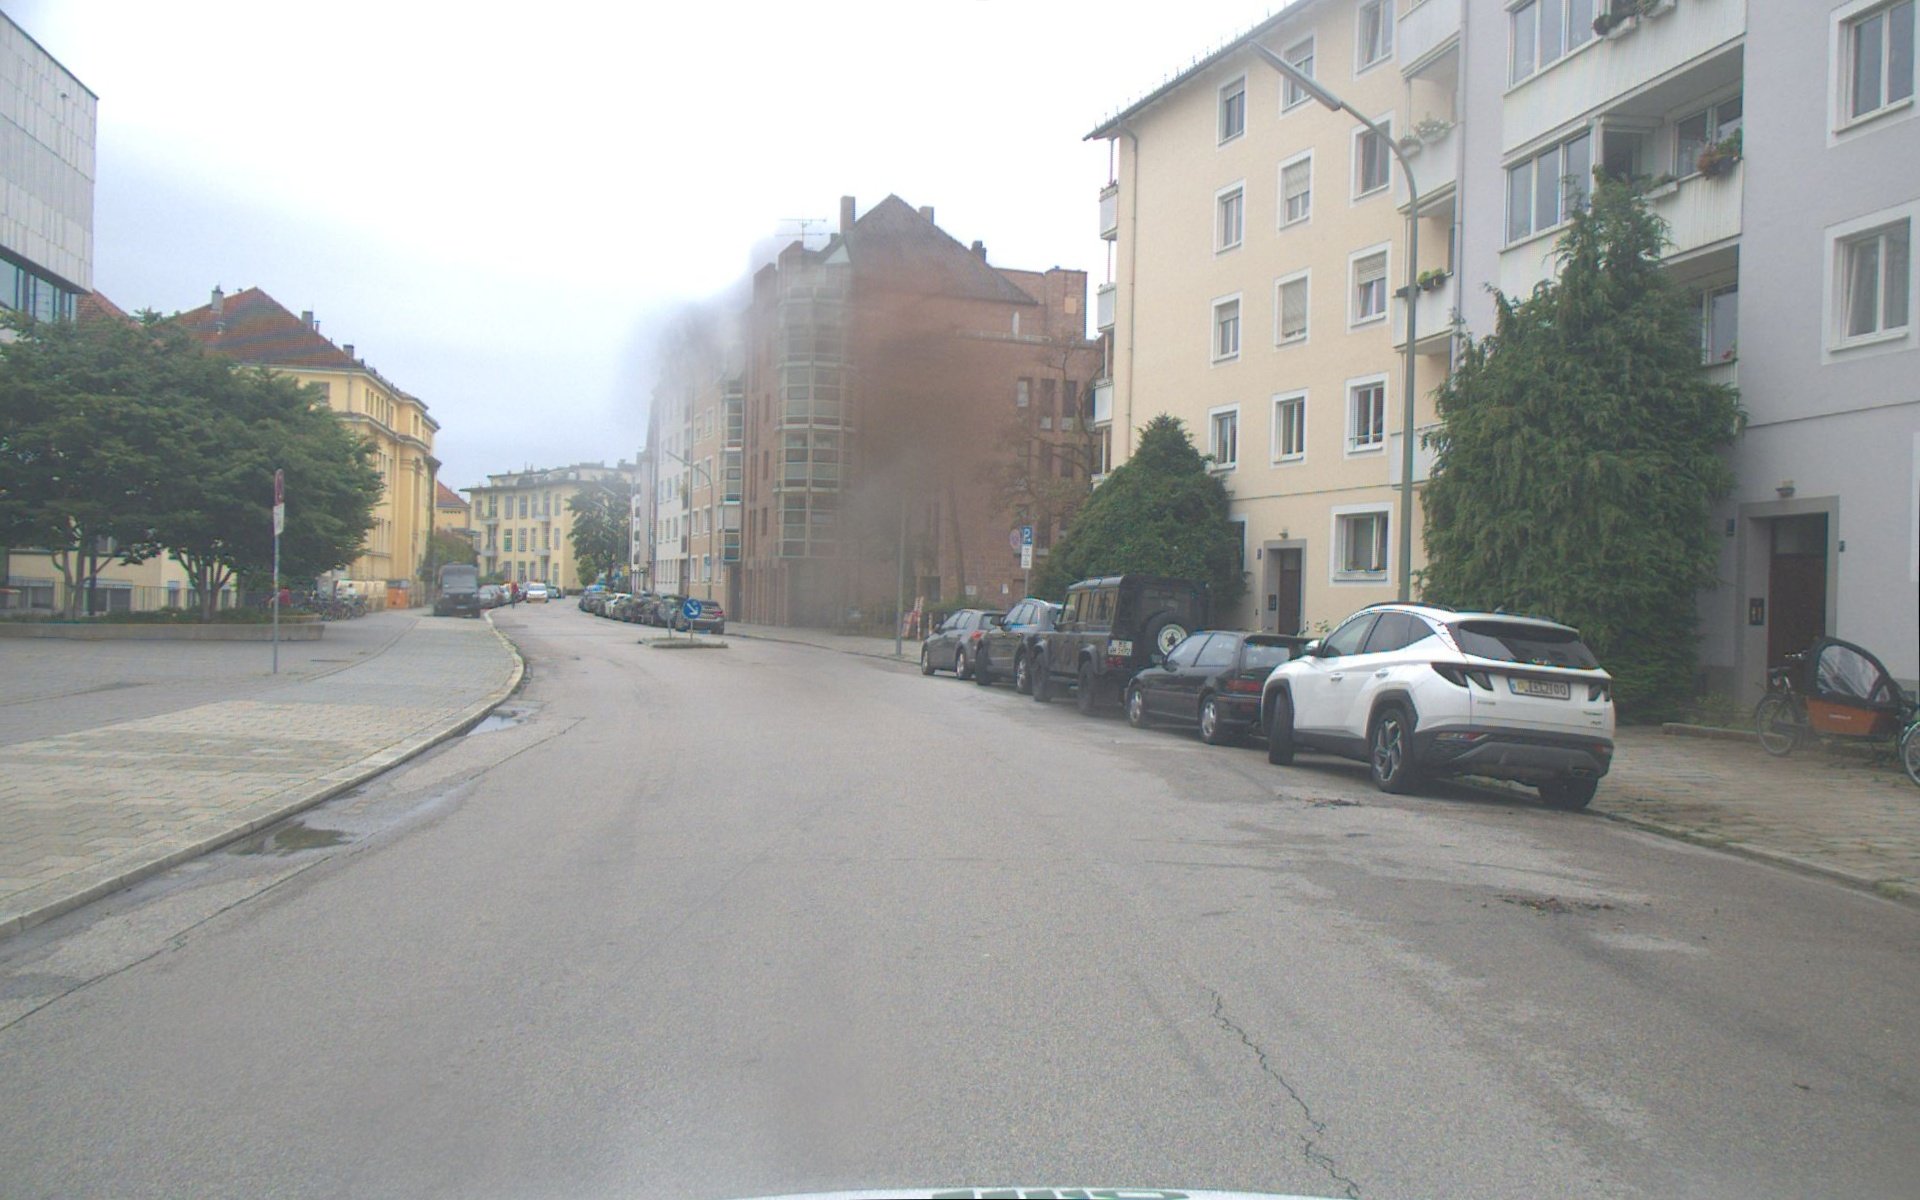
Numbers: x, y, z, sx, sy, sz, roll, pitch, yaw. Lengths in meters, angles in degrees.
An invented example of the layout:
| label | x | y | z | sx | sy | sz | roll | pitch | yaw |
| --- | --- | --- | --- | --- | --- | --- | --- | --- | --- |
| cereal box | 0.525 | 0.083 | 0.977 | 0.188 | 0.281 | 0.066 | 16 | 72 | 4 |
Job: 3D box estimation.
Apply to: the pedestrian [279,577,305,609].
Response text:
| label | x | y | z | sx | sy | sz | roll | pitch | yaw |
| --- | --- | --- | --- | --- | --- | --- | --- | --- | --- |
| pedestrian | -26.092 | -0.265 | 64.632 | 0.705 | 1.183 | 1.037 | 3 | 0 | -13 |

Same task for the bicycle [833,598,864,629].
| label | x | y | z | sx | sy | sz | roll | pitch | yaw |
| --- | --- | --- | --- | --- | --- | --- | --- | --- | --- |
| bicycle | -4.823 | 0.570 | 71.242 | 0.527 | 1.270 | 2.396 | 3 | -2 | -23 |

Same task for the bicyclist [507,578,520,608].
| label | x | y | z | sx | sy | sz | roll | pitch | yaw |
| --- | --- | --- | --- | --- | --- | --- | --- | --- | --- |
| bicyclist | -30.941 | -0.466 | 114.664 | 0.753 | 2.048 | 0.765 | -2 | 1 | -12 |

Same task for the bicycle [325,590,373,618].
| label | x | y | z | sx | sy | sz | roll | pitch | yaw |
| --- | --- | --- | --- | --- | --- | --- | --- | --- | --- |
| bicycle | -27.758 | 0.190 | 75.197 | 1.920 | 1.151 | 0.572 | 3 | 0 | -8 |

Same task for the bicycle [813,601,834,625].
| label | x | y | z | sx | sy | sz | roll | pitch | yaw |
| --- | --- | --- | --- | --- | --- | --- | --- | --- | --- |
| bicycle | -6.527 | 0.625 | 78.979 | 0.479 | 1.078 | 1.984 | 3 | 0 | -20 |

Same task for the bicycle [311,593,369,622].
| label | x | y | z | sx | sy | sz | roll | pitch | yaw |
| --- | --- | --- | --- | --- | --- | --- | --- | --- | --- |
| bicycle | -27.184 | 0.322 | 72.553 | 2.267 | 1.154 | 0.580 | 3 | 0 | -8 |

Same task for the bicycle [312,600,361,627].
| label | x | y | z | sx | sy | sz | roll | pitch | yaw |
| --- | --- | --- | --- | --- | --- | --- | --- | --- | --- |
| bicycle | -26.682 | 0.568 | 70.835 | 1.831 | 1.047 | 0.539 | 3 | 0 | -8 |

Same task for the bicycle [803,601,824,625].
| label | x | y | z | sx | sy | sz | roll | pitch | yaw |
| --- | --- | --- | --- | --- | --- | --- | --- | --- | --- |
| bicycle | -6.985 | 0.622 | 78.763 | 0.479 | 1.078 | 1.984 | 3 | -1 | -20 |

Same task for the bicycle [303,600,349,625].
| label | x | y | z | sx | sy | sz | roll | pitch | yaw |
| --- | --- | --- | --- | --- | --- | --- | --- | --- | --- |
| bicycle | -26.187 | 0.531 | 68.302 | 1.643 | 0.932 | 0.594 | 3 | 0 | -8 |

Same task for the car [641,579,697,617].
| label | x | y | z | sx | sy | sz | roll | pitch | yaw |
| --- | --- | --- | --- | --- | --- | --- | --- | --- | --- |
| car | -14.151 | -0.098 | 80.257 | 1.804 | 1.629 | 4.240 | 3 | 1 | -21 |

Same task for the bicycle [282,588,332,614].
| label | x | y | z | sx | sy | sz | roll | pitch | yaw |
| --- | --- | --- | --- | --- | --- | --- | --- | --- | --- |
| bicycle | -25.251 | 0.044 | 63.940 | 1.688 | 0.877 | 0.438 | 3 | 0 | -12 |

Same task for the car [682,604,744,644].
| label | x | y | z | sx | sy | sz | roll | pitch | yaw |
| --- | --- | --- | --- | --- | --- | --- | --- | --- | --- |
| car | -10.526 | 1.000 | 70.379 | 1.895 | 1.538 | 4.370 | 3 | 0 | -18 |

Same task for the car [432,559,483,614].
| label | x | y | z | sx | sy | sz | roll | pitch | yaw |
| --- | --- | --- | --- | --- | --- | --- | --- | --- | --- |
| car | -26.276 | -0.676 | 86.357 | 2.385 | 2.762 | 5.920 | 0 | 0 | -19 |

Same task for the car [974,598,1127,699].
| label | x | y | z | sx | sy | sz | roll | pitch | yaw |
| --- | --- | --- | --- | --- | --- | --- | --- | --- | --- |
| car | 1.539 | 0.810 | 29.761 | 1.629 | 1.593 | 4.502 | 3 | -1 | -11 |

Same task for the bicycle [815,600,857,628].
| label | x | y | z | sx | sy | sz | roll | pitch | yaw |
| --- | --- | --- | --- | --- | --- | --- | --- | --- | --- |
| bicycle | -5.803 | 0.651 | 77.377 | 1.816 | 1.167 | 0.486 | 3 | 0 | -12 |

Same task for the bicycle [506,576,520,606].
| label | x | y | z | sx | sy | sz | roll | pitch | yaw |
| --- | --- | --- | --- | --- | --- | --- | --- | --- | --- |
| bicycle | -30.940 | -0.637 | 114.604 | 0.735 | 2.048 | 2.839 | -1 | 1 | -12 |

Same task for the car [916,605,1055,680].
| label | x | y | z | sx | sy | sz | roll | pitch | yaw |
| --- | --- | --- | --- | --- | --- | --- | --- | --- | --- |
| car | 0.466 | 0.858 | 34.764 | 1.727 | 1.421 | 4.025 | 3 | -1 | -17 |

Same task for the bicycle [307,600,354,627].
| label | x | y | z | sx | sy | sz | roll | pitch | yaw |
| --- | --- | --- | --- | --- | --- | --- | --- | --- | --- |
| bicycle | -26.658 | 0.565 | 70.042 | 1.757 | 1.051 | 0.507 | 3 | 0 | -8 |

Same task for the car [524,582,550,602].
| label | x | y | z | sx | sy | sz | roll | pitch | yaw |
| --- | --- | --- | --- | --- | --- | --- | --- | --- | --- |
| car | -36.662 | -0.674 | 143.236 | 1.993 | 1.650 | 4.484 | -1 | -1 | -16 |

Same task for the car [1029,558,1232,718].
| label | x | y | z | sx | sy | sz | roll | pitch | yaw |
| --- | --- | --- | --- | --- | --- | --- | --- | --- | --- |
| car | 2.452 | 0.490 | 25.017 | 1.716 | 2.117 | 4.504 | 3 | 1 | -11 |

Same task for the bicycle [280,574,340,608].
| label | x | y | z | sx | sy | sz | roll | pitch | yaw |
| --- | --- | --- | --- | --- | --- | --- | --- | --- | --- |
| bicycle | -26.151 | -0.355 | 66.594 | 2.065 | 1.249 | 0.785 | 3 | 0 | -8 |

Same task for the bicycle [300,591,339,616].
| label | x | y | z | sx | sy | sz | roll | pitch | yaw |
| --- | --- | --- | --- | --- | --- | --- | --- | --- | --- |
| bicycle | -25.220 | 0.138 | 65.132 | 1.347 | 0.877 | 0.438 | 3 | 0 | -12 |

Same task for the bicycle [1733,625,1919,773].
| label | x | y | z | sx | sy | sz | roll | pitch | yaw |
| --- | --- | --- | --- | --- | --- | --- | --- | --- | --- |
| bicycle | 9.473 | 1.007 | 17.753 | 0.730 | 1.391 | 2.462 | -2 | 1 | -13 |

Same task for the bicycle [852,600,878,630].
| label | x | y | z | sx | sy | sz | roll | pitch | yaw |
| --- | --- | --- | --- | --- | --- | --- | --- | --- | --- |
| bicycle | -4.011 | 0.640 | 70.079 | 0.412 | 1.193 | 1.360 | 3 | 0 | 27 |

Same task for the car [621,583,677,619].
| label | x | y | z | sx | sy | sz | roll | pitch | yaw |
| --- | --- | --- | --- | --- | --- | --- | --- | --- | --- |
| car | -16.013 | 0.021 | 84.946 | 1.936 | 1.629 | 4.642 | 3 | 1 | -21 |

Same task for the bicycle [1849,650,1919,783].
| label | x | y | z | sx | sy | sz | roll | pitch | yaw |
| --- | --- | --- | --- | --- | --- | --- | --- | --- | --- |
| bicycle | 9.168 | 1.078 | 15.086 | 0.571 | 1.178 | 1.811 | -1 | 0 | -33 |

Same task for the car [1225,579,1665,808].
| label | x | y | z | sx | sy | sz | roll | pitch | yaw |
| --- | --- | --- | --- | --- | --- | --- | --- | --- | --- |
| car | 4.280 | 0.736 | 15.516 | 1.990 | 1.707 | 4.600 | 3 | 1 | -11 |

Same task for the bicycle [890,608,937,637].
| label | x | y | z | sx | sy | sz | roll | pitch | yaw |
| --- | --- | --- | --- | --- | --- | --- | --- | --- | --- |
| bicycle | -1.795 | 0.870 | 64.000 | 1.674 | 0.982 | 0.543 | 3 | 0 | -18 |

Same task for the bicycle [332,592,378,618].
| label | x | y | z | sx | sy | sz | roll | pitch | yaw |
| --- | --- | --- | --- | --- | --- | --- | --- | --- | --- |
| bicycle | -28.078 | 0.228 | 76.800 | 1.869 | 1.111 | 0.676 | 3 | 0 | -8 |

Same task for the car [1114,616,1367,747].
| label | x | y | z | sx | sy | sz | roll | pitch | yaw |
| --- | --- | --- | --- | --- | --- | --- | --- | --- | --- |
| car | 3.336 | 0.940 | 20.392 | 1.631 | 1.372 | 3.789 | 3 | -1 | -14 |
